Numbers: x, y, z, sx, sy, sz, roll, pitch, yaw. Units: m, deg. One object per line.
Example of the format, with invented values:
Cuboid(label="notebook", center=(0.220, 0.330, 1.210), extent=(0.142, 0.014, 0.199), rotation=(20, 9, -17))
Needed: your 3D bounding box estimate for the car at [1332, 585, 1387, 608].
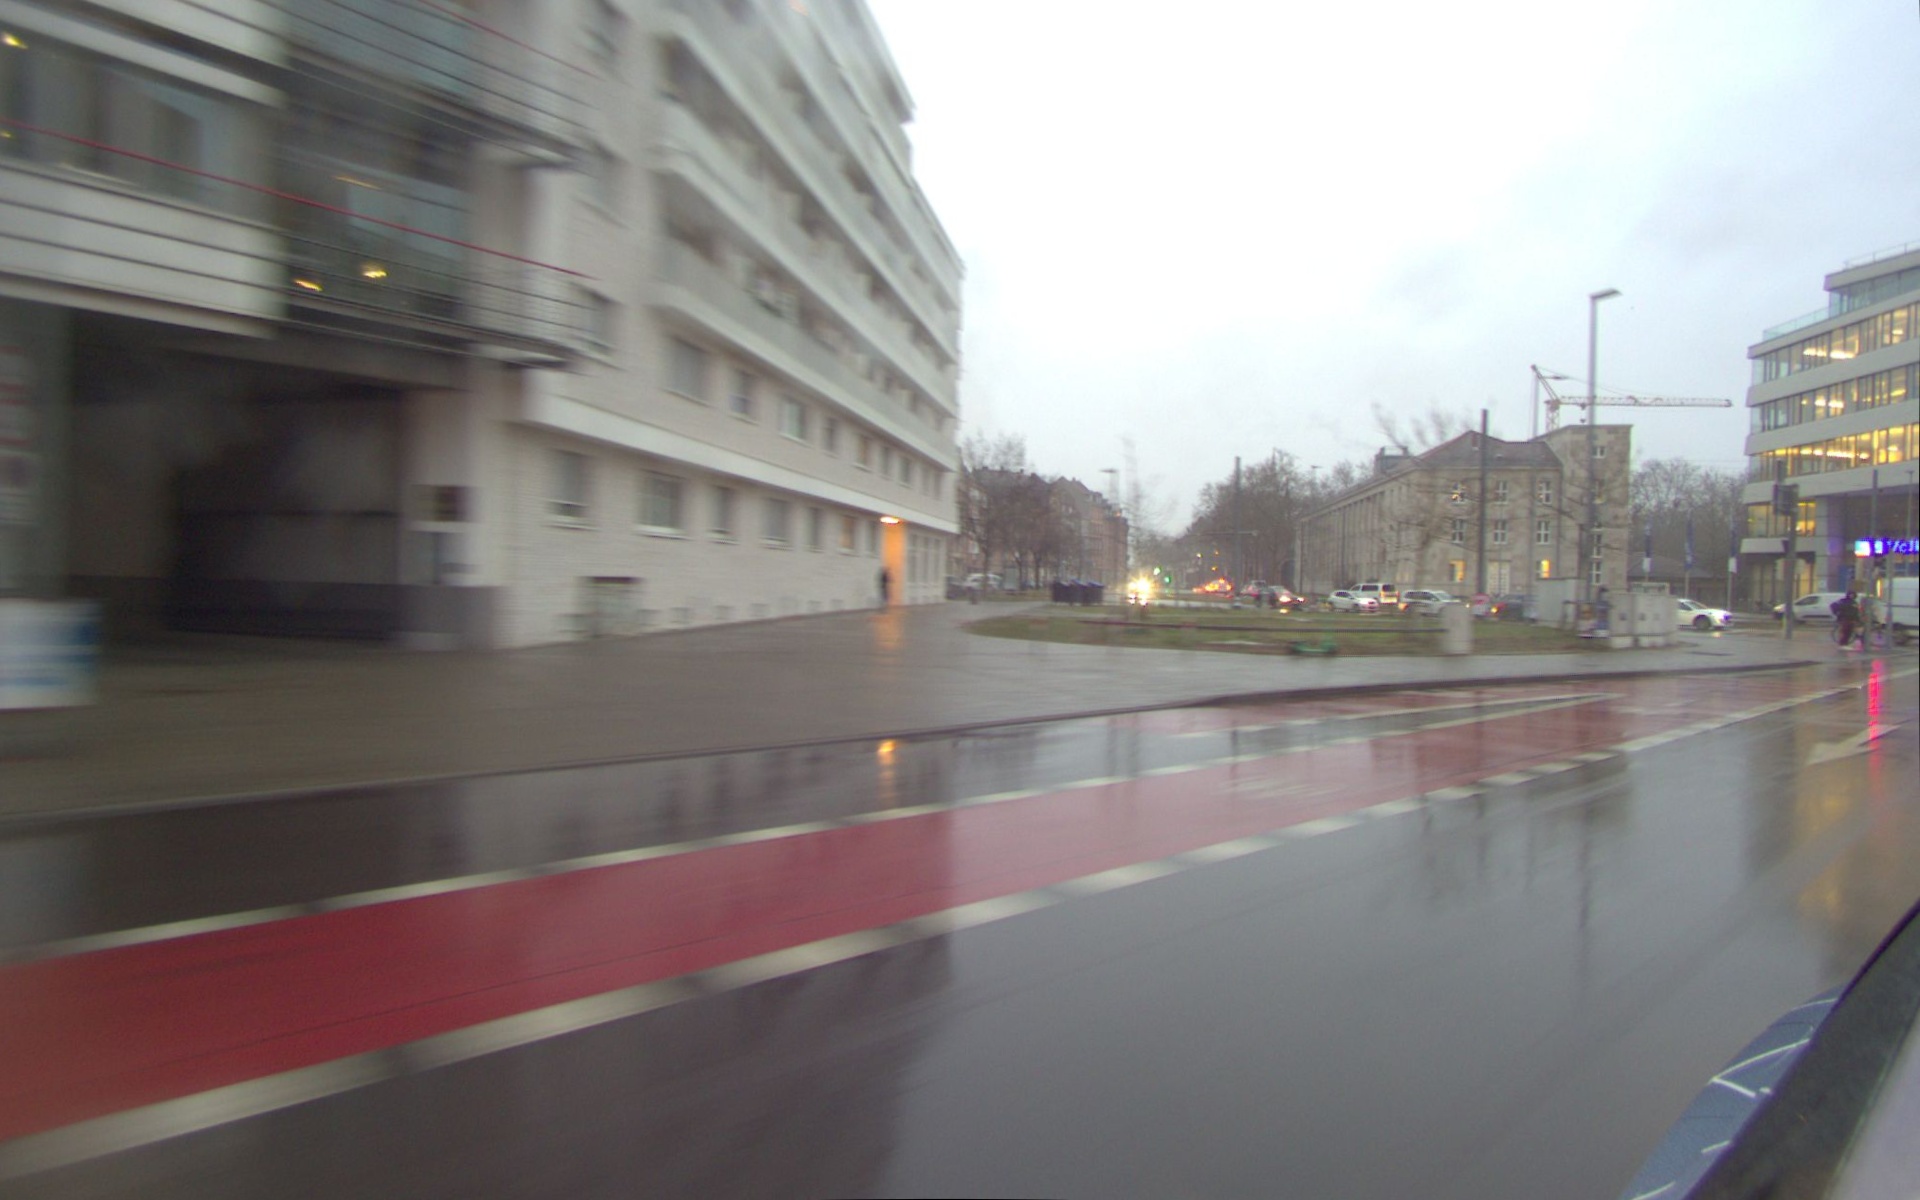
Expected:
Cuboid(label="car", center=(27.261, -0.257, 69.136), extent=(1.655, 1.448, 3.354), rotation=(0, 2, -23))

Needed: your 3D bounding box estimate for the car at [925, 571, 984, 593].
Cuboid(label="car", center=(-0.421, -1.332, 75.726), extent=(4.069, 1.589, 1.746), rotation=(1, 1, -21))

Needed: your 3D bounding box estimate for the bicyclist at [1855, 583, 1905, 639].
Cuboid(label="bicyclist", center=(31.893, 0.375, 35.103), extent=(0.776, 1.914, 0.991), rotation=(1, 1, -18))

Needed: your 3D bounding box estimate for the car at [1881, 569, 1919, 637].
Cuboid(label="car", center=(36.766, 0.167, 36.259), extent=(2.200, 2.493, 5.673), rotation=(1, 2, -2))

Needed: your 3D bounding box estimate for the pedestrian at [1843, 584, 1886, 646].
Cuboid(label="pedestrian", center=(28.135, 0.454, 31.494), extent=(0.765, 1.901, 0.632), rotation=(1, 1, 17))

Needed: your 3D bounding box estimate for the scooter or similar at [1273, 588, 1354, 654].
Cuboid(label="scooter or similar", center=(7.147, 0.403, 20.454), extent=(1.525, 1.242, 0.671), rotation=(-1, 2, -29))

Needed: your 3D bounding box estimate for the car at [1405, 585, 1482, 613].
Cuboid(label="car", center=(30.062, -0.095, 63.101), extent=(1.642, 1.619, 4.231), rotation=(1, 1, -25))

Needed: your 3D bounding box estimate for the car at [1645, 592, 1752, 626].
Cuboid(label="car", center=(36.579, 0.405, 50.238), extent=(1.728, 1.481, 3.923), rotation=(-1, 2, -29))

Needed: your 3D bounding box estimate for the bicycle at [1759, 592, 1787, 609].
Cuboid(label="bicycle", center=(58.962, 0.041, 73.405), extent=(1.475, 1.141, 0.526), rotation=(1, 1, 13))

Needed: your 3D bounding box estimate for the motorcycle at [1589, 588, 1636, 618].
Cuboid(label="motorcycle", center=(27.989, 0.117, 43.444), extent=(0.475, 1.198, 2.409), rotation=(1, 1, 1))

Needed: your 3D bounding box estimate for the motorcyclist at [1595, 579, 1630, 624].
Cuboid(label="motorcyclist", center=(27.966, 0.045, 43.378), extent=(0.869, 1.905, 0.922), rotation=(1, 1, 0))

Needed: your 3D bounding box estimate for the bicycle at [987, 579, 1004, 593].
Cuboid(label="bicycle", center=(2.840, -1.104, 80.273), extent=(0.532, 1.031, 1.888), rotation=(3, 1, 29))

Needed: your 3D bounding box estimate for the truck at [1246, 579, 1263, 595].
Cuboid(label="truck", center=(38.655, -1.767, 133.013), extent=(1.810, 2.070, 3.986), rotation=(1, 1, 12))

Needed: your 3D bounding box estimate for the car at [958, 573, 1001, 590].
Cuboid(label="car", center=(1.826, -1.696, 93.193), extent=(3.610, 1.417, 1.524), rotation=(1, 1, -19))

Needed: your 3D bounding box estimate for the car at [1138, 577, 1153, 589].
Cuboid(label="car", center=(23.854, -2.185, 130.134), extent=(1.725, 1.387, 3.603), rotation=(1, 1, 11))

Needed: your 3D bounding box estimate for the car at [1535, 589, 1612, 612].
Cuboid(label="car", center=(42.639, -0.014, 70.437), extent=(1.595, 1.462, 4.433), rotation=(1, 1, -22))

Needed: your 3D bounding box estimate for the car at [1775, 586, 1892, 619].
Cuboid(label="car", center=(49.287, 0.112, 57.210), extent=(1.890, 1.740, 4.618), rotation=(1, 1, -27))

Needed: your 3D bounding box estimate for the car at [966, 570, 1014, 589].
Cuboid(label="car", center=(2.931, -1.977, 99.031), extent=(4.254, 1.790, 1.785), rotation=(1, 1, -20))

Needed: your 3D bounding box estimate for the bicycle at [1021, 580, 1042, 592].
Cuboid(label="bicycle", center=(6.274, -1.200, 89.058), extent=(1.766, 0.943, 0.445), rotation=(3, 1, 9))

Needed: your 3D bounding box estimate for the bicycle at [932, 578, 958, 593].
Cuboid(label="bicycle", center=(-1.042, -1.014, 70.349), extent=(1.758, 0.943, 0.447), rotation=(3, 1, -14))

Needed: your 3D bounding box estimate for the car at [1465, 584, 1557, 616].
Cuboid(label="car", center=(30.087, -0.025, 55.392), extent=(1.868, 1.619, 4.004), rotation=(0, 2, -38))

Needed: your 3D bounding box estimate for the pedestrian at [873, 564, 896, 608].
Cuboid(label="pedestrian", center=(-2.901, -0.544, 38.915), extent=(0.707, 1.653, 0.634), rotation=(1, 1, -22))

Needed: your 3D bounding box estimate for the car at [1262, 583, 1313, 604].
Cuboid(label="car", center=(24.759, -0.537, 76.657), extent=(1.838, 1.493, 4.179), rotation=(0, 1, -11))

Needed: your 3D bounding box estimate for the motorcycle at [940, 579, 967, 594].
Cuboid(label="motorcycle", center=(-0.453, -0.954, 71.970), extent=(1.757, 0.943, 0.514), rotation=(3, 1, -20))

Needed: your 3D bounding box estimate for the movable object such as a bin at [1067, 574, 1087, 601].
Cuboid(label="movable object such as a bin", center=(7.151, -0.784, 61.676), extent=(1.038, 1.595, 1.135), rotation=(1, 1, 15))

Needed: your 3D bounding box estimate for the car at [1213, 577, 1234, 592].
Cuboid(label="car", center=(35.589, -2.094, 136.939), extent=(1.871, 1.894, 4.959), rotation=(-1, 2, 4))

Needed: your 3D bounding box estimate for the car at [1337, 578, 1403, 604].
Cuboid(label="car", center=(34.673, -0.769, 85.790), extent=(1.912, 2.084, 5.674), rotation=(1, 1, -19))

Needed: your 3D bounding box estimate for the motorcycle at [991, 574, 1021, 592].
Cuboid(label="motorcycle", center=(3.790, -1.425, 84.109), extent=(2.311, 1.362, 0.886), rotation=(4, 1, -6))

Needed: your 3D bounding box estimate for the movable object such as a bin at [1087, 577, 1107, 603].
Cuboid(label="movable object such as a bin", center=(8.297, -0.622, 61.389), extent=(1.038, 1.529, 1.247), rotation=(1, 1, 15))

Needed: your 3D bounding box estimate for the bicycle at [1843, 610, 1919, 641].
Cuboid(label="bicycle", center=(31.865, 0.863, 35.039), extent=(0.643, 0.985, 1.871), rotation=(1, 1, -18))
